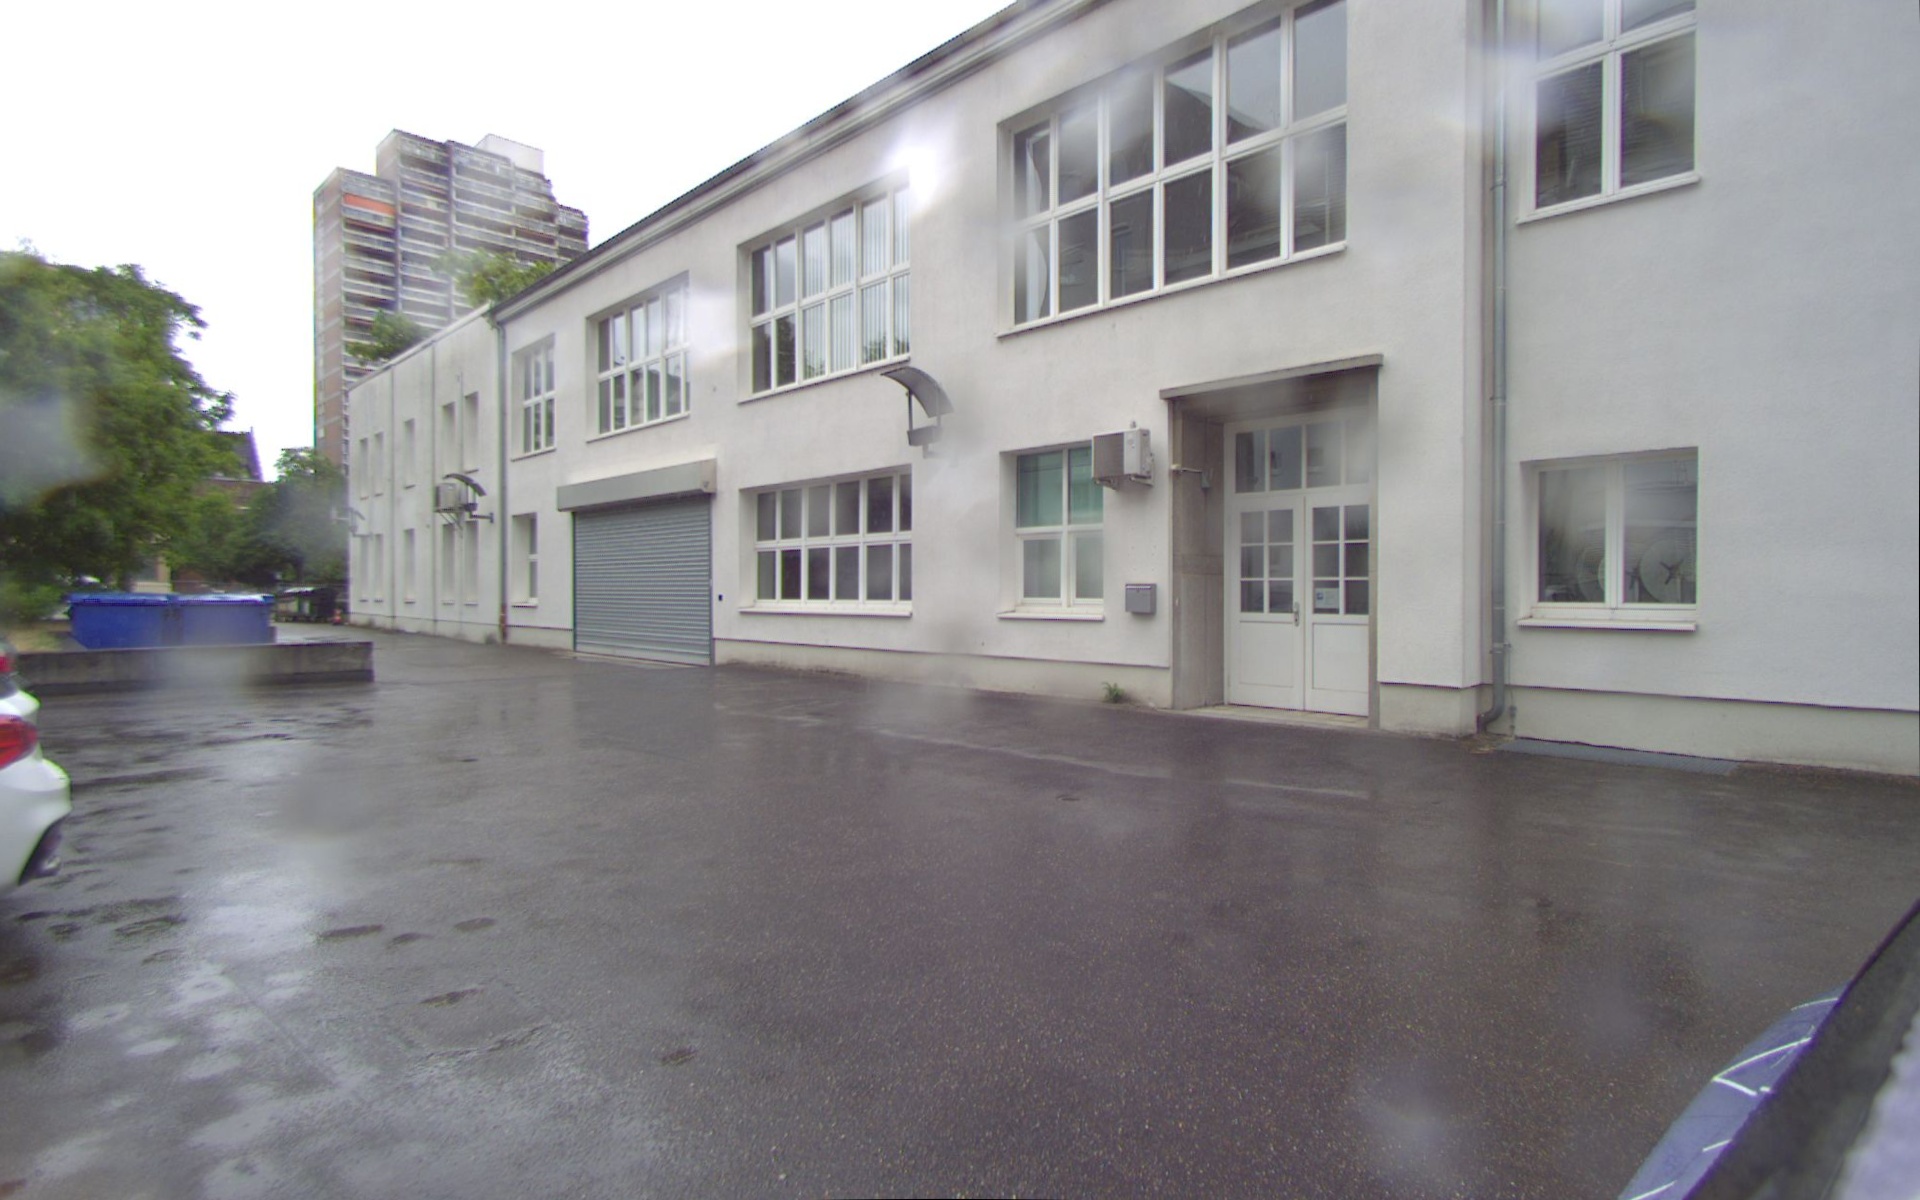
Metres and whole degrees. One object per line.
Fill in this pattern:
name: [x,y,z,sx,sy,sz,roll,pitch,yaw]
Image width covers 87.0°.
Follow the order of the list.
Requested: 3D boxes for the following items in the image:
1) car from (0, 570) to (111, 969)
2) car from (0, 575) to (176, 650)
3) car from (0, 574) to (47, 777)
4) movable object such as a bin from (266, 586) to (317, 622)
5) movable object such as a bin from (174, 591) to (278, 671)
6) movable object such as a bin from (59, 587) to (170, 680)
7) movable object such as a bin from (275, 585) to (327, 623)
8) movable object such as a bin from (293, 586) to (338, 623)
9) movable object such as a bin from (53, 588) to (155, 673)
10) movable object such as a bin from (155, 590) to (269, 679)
car: [-5.528,0.669,3.186,1.992,1.508,4.158,-1,0,42]
car: [-25.218,0.351,28.628,4.619,1.905,2.118,-3,-1,-42]
car: [-9.067,0.593,6.828,1.992,1.508,4.158,-1,0,42]
movable object such as a bin: [-28.175,0.170,42.666,1.308,1.466,1.471,-2,0,41]
movable object such as a bin: [-13.797,0.564,19.012,1.292,1.375,1.899,-2,0,-44]
movable object such as a bin: [-13.717,0.524,16.394,1.214,1.375,1.965,-2,0,-44]
movable object such as a bin: [-27.180,0.163,41.762,1.308,1.466,1.471,-2,0,41]
movable object such as a bin: [-25.952,0.188,40.743,1.308,1.391,1.171,-2,0,41]
movable object such as a bin: [-15.097,0.530,17.834,1.214,1.375,1.965,-2,0,-44]
movable object such as a bin: [-12.796,0.573,17.288,1.292,1.375,1.899,-2,0,-44]
